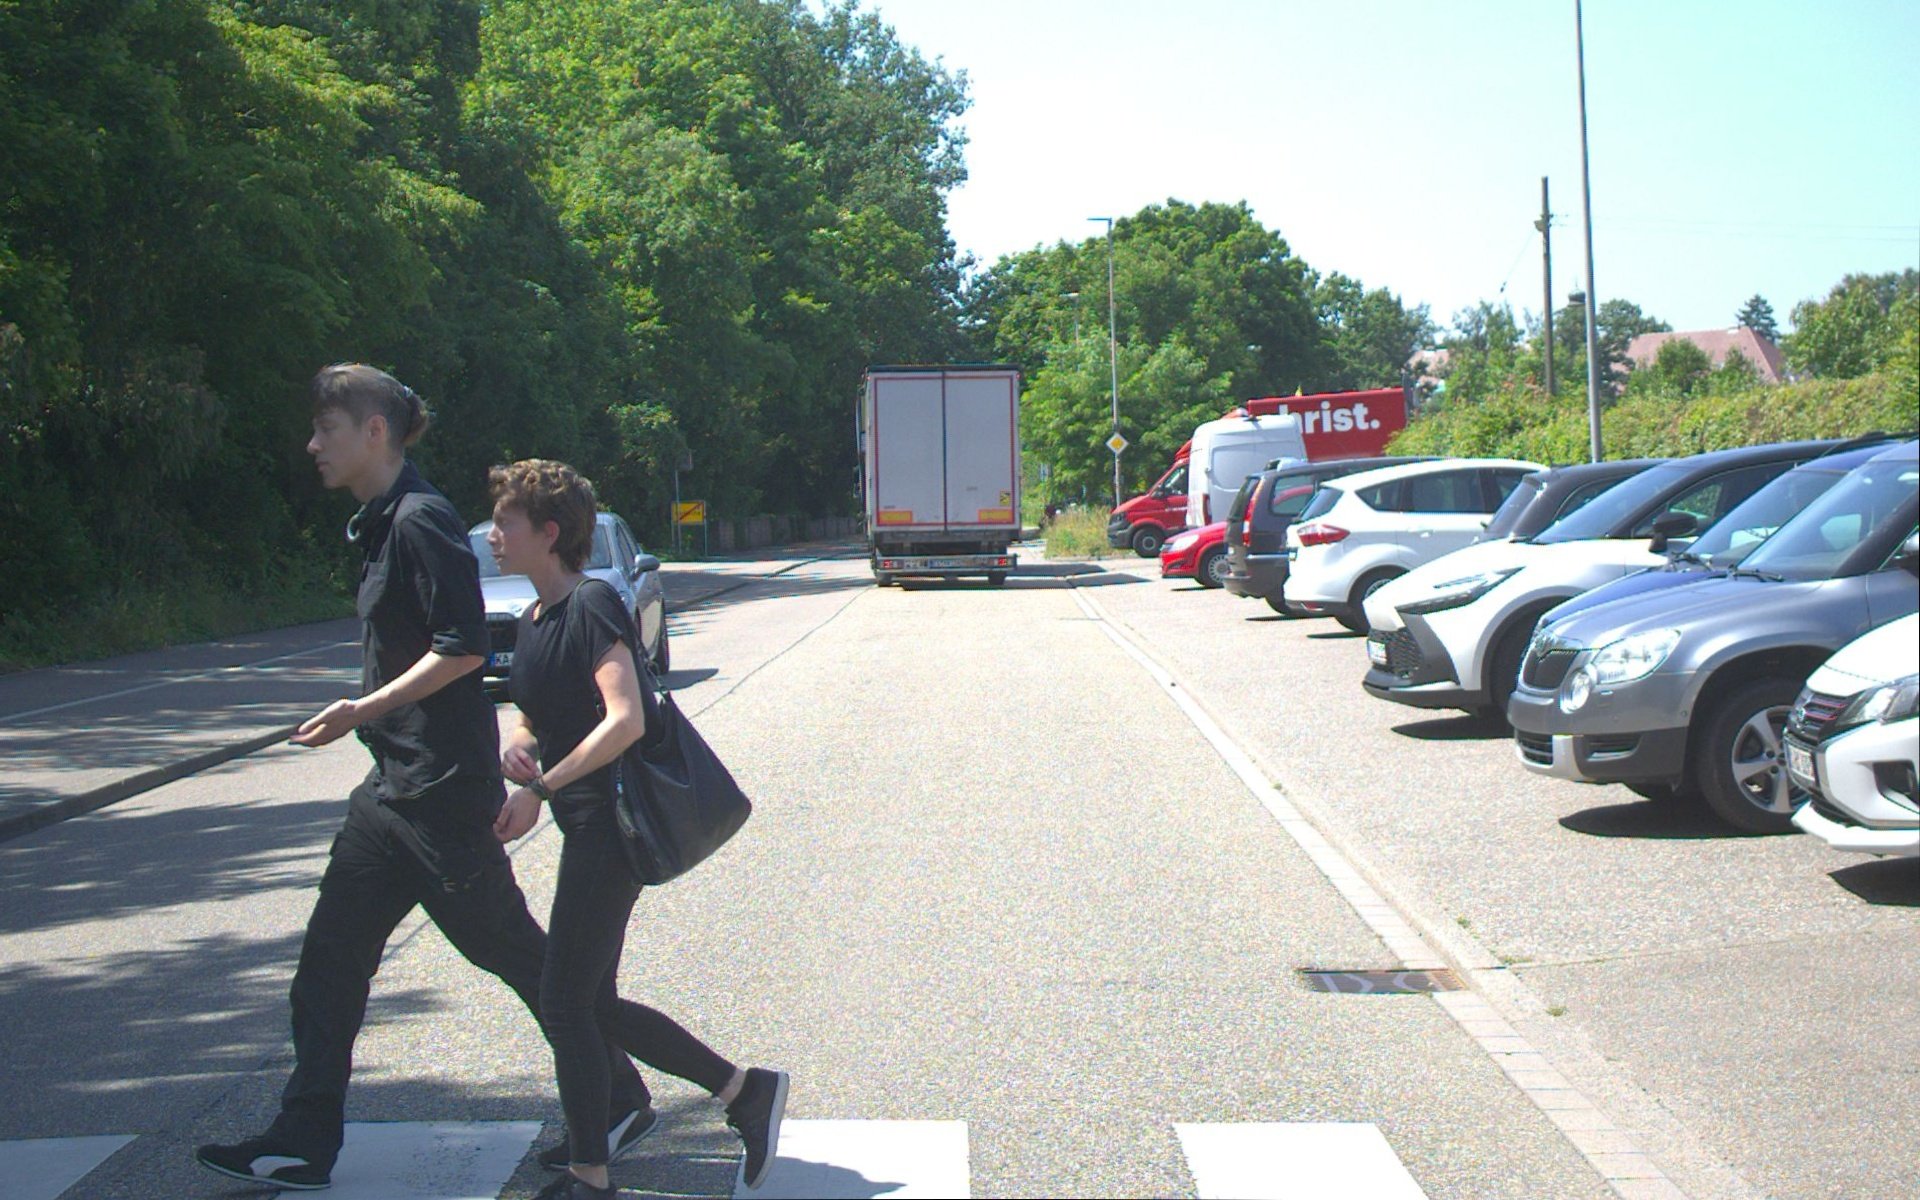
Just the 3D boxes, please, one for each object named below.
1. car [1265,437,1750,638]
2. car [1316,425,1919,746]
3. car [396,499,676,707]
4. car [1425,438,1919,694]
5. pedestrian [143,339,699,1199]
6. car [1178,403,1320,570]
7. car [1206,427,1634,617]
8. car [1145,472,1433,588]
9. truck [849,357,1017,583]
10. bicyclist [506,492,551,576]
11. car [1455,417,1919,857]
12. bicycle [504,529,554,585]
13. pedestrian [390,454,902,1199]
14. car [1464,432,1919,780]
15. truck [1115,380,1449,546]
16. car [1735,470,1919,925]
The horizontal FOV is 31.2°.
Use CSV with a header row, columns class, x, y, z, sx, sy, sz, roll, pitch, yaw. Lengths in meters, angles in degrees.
class,x,y,z,sx,sy,sz,roll,pitch,yaw
car,5.231,-0.619,33.195,4.276,1.572,1.766,-4,2,-1
car,4.345,-0.139,20.758,3.962,1.517,1.865,-6,2,-5
car,-3.659,-0.037,30.385,1.891,1.527,4.197,-6,2,-1
car,5.017,-0.259,23.749,3.388,1.498,1.588,-4,2,4
pedestrian,-1.209,0.380,7.608,1.082,1.858,0.784,-1,1,-18
car,5.193,-2.078,62.679,1.954,2.724,7.168,-4,2,1
car,5.219,-0.892,39.403,4.452,1.798,1.953,-4,1,-4
car,4.966,-1.075,52.269,4.053,1.429,1.836,-4,2,-2
truck,-0.338,-2.361,63.918,2.733,3.733,13.246,-1,2,1
bicyclist,-8.192,-1.263,65.308,0.648,1.559,0.837,-2,2,4
car,4.358,0.017,14.963,3.960,1.634,1.664,-6,2,-5
bicycle,-8.180,-0.825,65.332,0.561,1.023,1.839,-2,2,4
pedestrian,-0.670,0.511,7.161,0.893,1.605,0.781,-1,1,-18
car,4.560,-0.058,17.890,3.452,1.522,1.540,-6,2,-5
truck,7.222,-3.048,76.788,7.140,3.428,2.329,-1,2,11
car,4.775,0.159,12.086,3.690,1.445,1.610,-5,2,4
